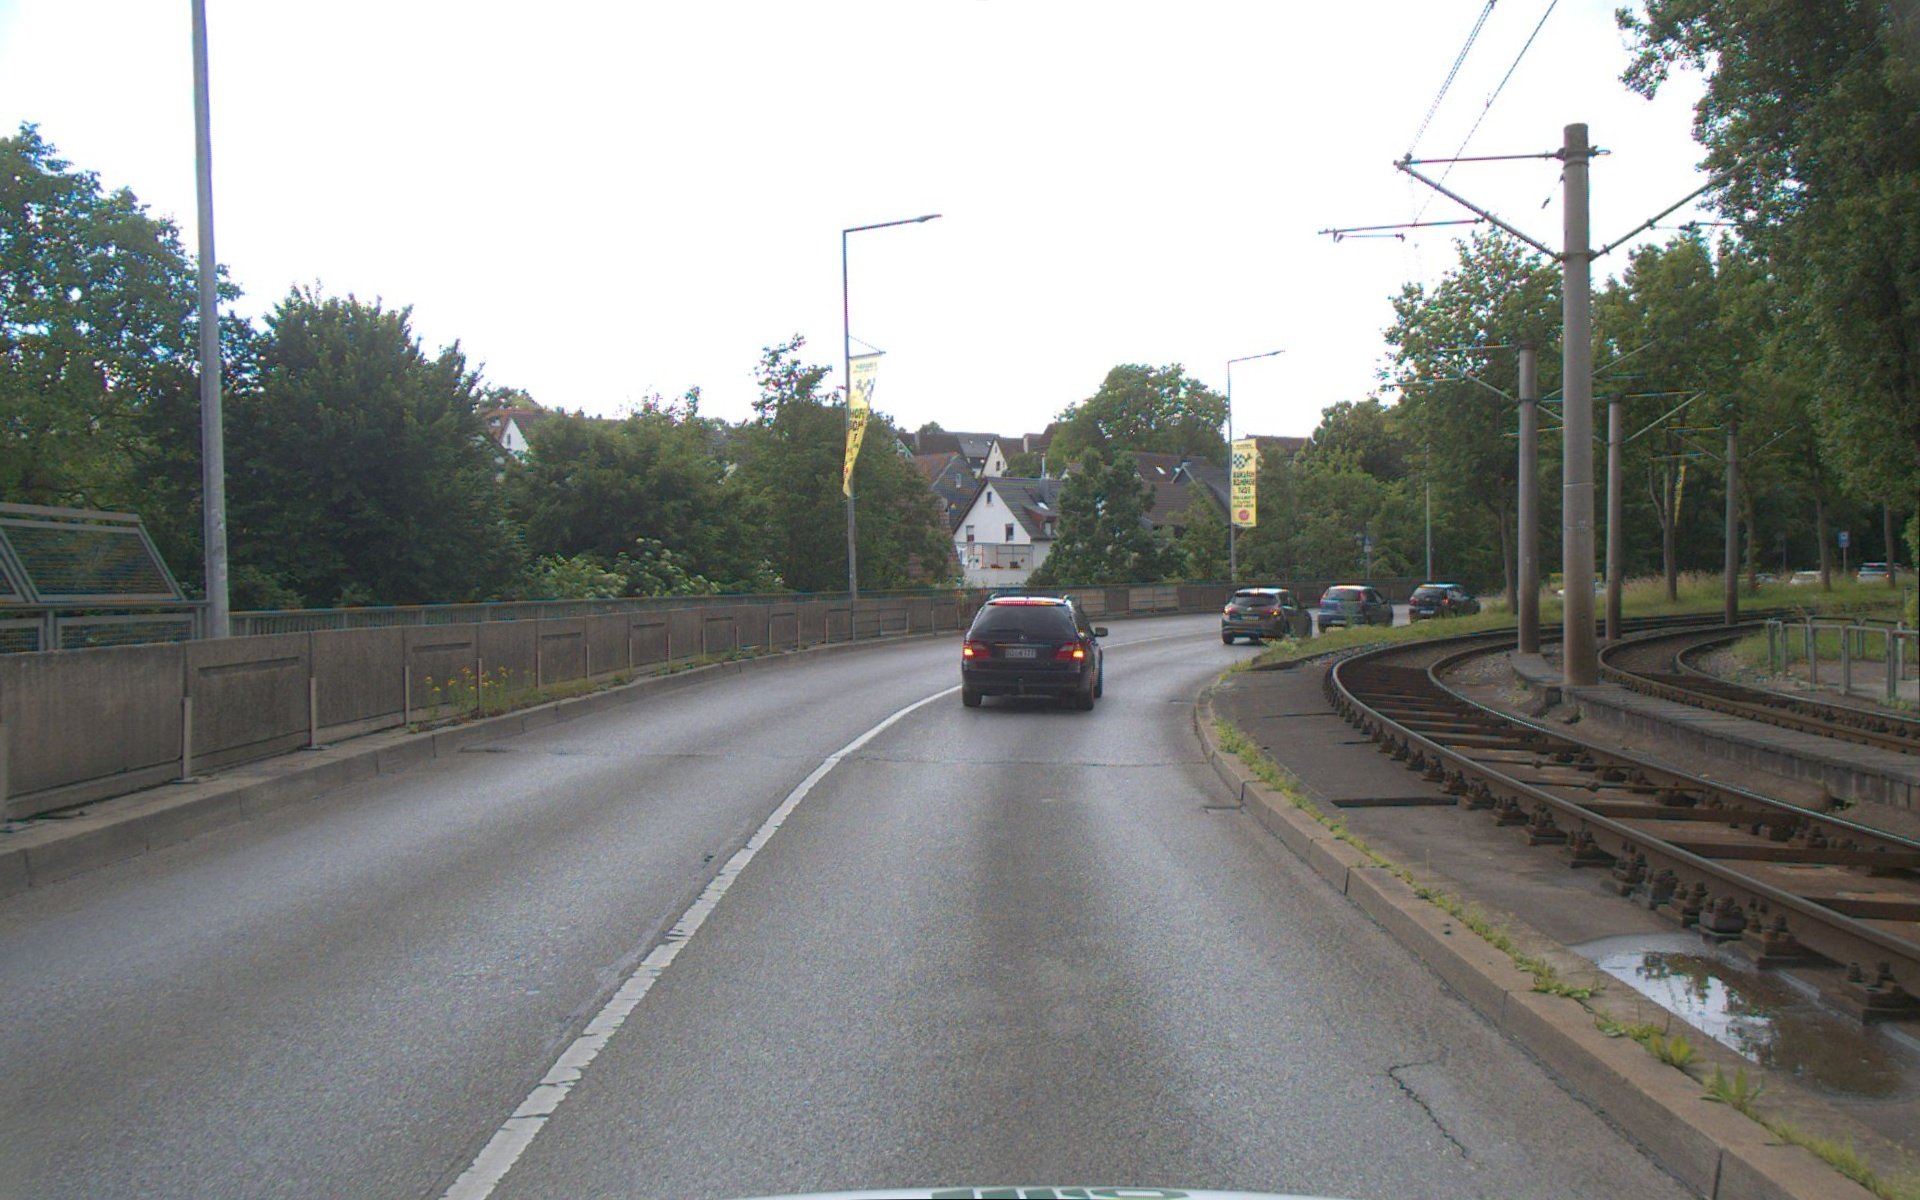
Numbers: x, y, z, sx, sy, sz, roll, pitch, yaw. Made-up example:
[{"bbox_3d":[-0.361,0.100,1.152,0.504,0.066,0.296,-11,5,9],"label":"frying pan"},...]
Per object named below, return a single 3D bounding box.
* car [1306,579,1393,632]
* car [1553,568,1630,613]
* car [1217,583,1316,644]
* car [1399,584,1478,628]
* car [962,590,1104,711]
[{"bbox_3d":[12.778,0.152,54.054,1.758,1.582,4.380,-1,0,27],"label":"car"},{"bbox_3d":[27.872,-0.438,72.939,1.772,1.741,3.964,-2,2,43],"label":"car"},{"bbox_3d":[8.655,0.349,46.427,1.735,1.582,4.238,-1,1,25],"label":"car"},{"bbox_3d":[17.686,0.206,61.023,1.738,1.582,4.230,-1,0,32],"label":"car"},{"bbox_3d":[1.117,0.652,23.351,1.721,1.542,4.445,0,0,6],"label":"car"}]
